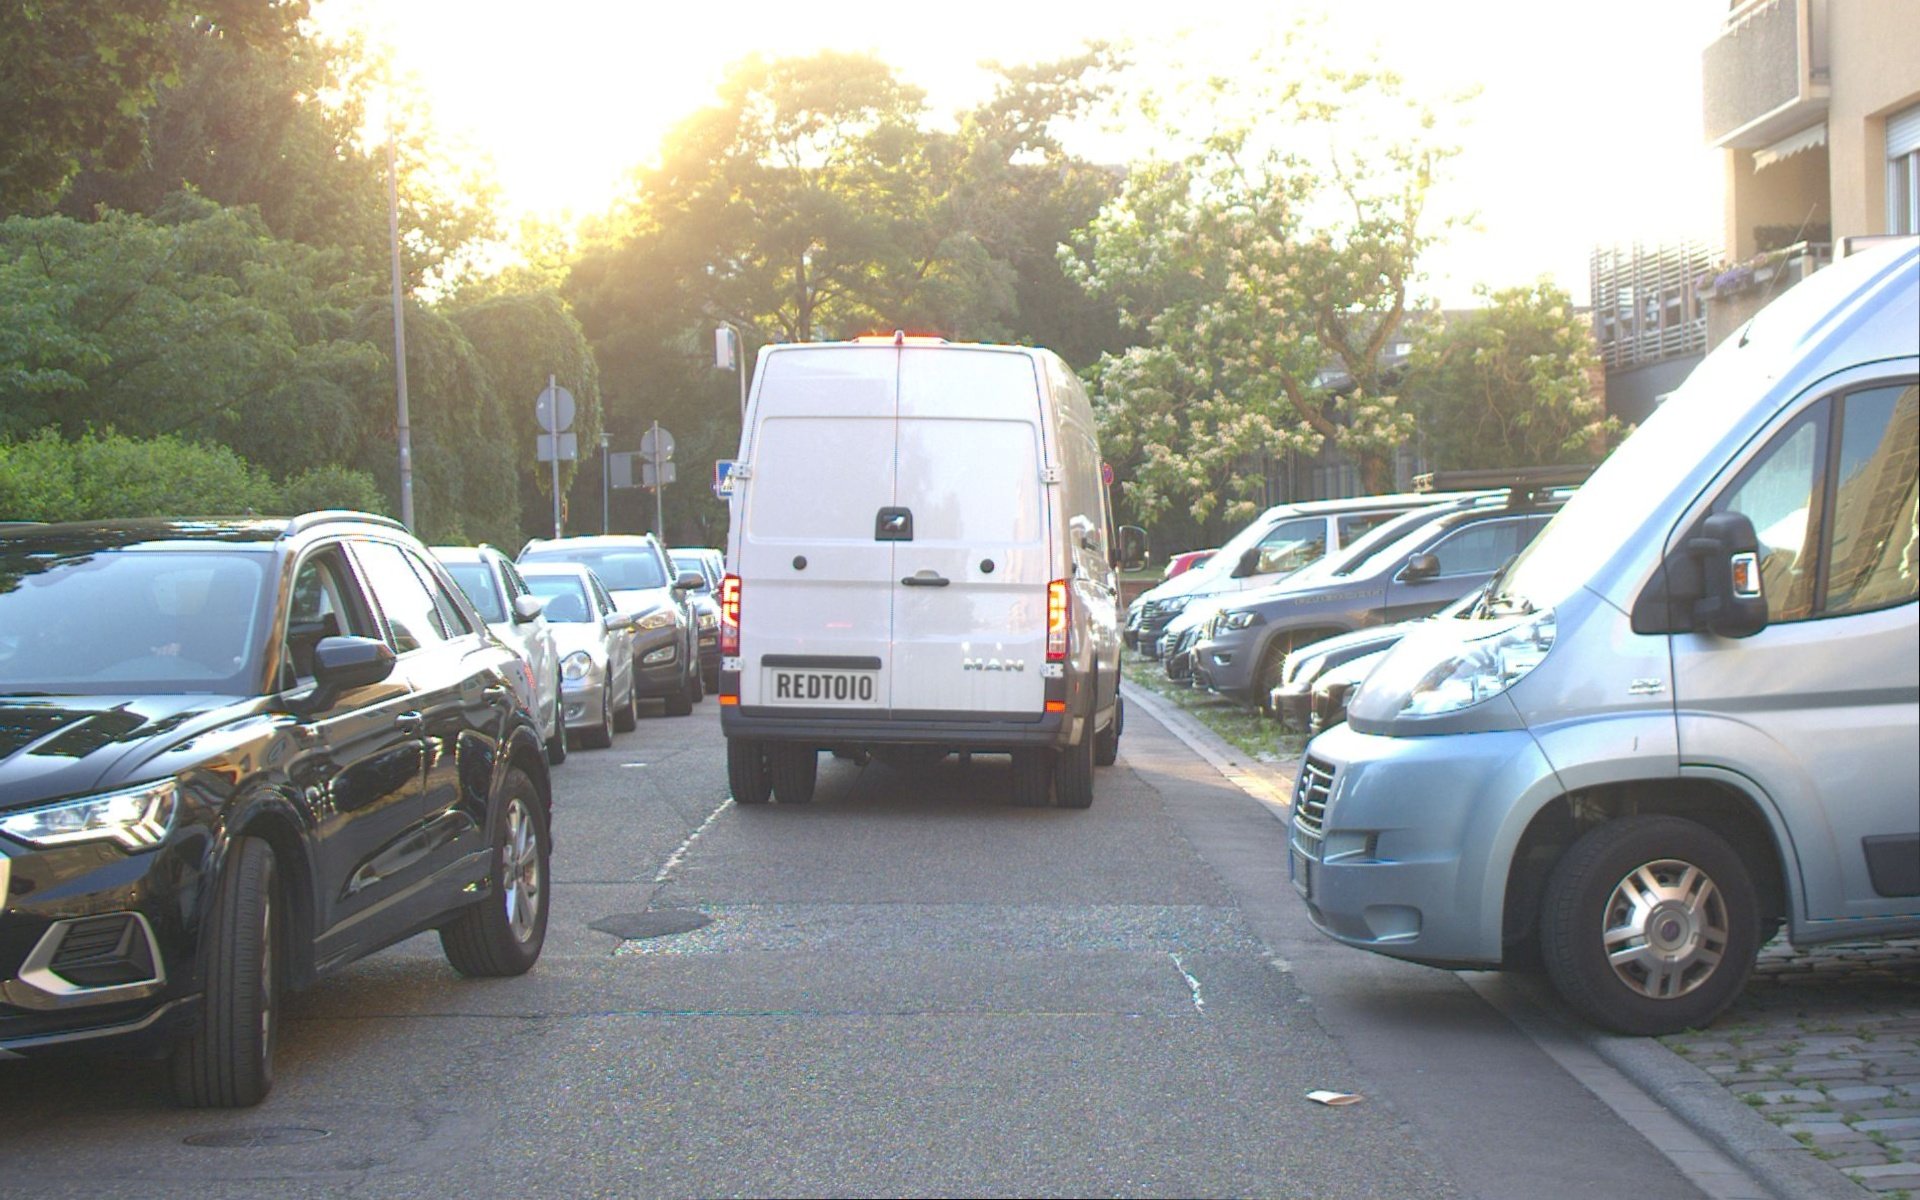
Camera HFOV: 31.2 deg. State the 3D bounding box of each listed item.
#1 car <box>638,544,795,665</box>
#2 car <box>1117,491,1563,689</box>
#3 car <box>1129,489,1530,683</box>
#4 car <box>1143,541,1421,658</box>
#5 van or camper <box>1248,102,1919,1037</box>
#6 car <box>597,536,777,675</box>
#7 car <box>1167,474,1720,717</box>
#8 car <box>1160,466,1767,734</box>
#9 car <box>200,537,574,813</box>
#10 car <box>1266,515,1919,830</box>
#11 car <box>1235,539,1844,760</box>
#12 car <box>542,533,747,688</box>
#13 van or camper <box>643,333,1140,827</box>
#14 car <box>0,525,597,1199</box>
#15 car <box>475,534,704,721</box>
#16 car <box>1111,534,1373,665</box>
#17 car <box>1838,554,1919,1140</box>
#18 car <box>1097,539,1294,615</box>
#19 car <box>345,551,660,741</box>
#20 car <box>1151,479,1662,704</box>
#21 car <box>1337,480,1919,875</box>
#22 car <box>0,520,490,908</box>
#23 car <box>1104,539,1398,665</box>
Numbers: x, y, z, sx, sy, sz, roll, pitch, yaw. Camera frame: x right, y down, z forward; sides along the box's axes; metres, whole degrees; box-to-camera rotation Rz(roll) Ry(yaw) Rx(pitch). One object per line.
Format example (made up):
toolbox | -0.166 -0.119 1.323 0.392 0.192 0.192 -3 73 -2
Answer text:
car | -3.339 0.030 47.816 1.993 1.612 4.000 0 1 -1
car | 4.168 -0.127 38.290 4.706 2.138 2.000 0 1 -1
car | 4.292 -0.176 40.474 4.496 2.223 2.032 0 1 0
car | 4.765 -0.023 51.379 3.987 1.722 2.000 0 1 1
van or camper | 4.007 -0.099 11.236 5.928 2.760 2.110 0 1 -1
car | -3.290 0.031 42.103 1.993 1.612 4.000 0 1 -1
car | 4.304 -0.058 31.183 4.706 2.138 2.000 0 1 -1
car | 4.083 -0.016 28.487 4.706 2.138 2.000 0 1 -1
car | -3.595 0.409 22.258 1.856 1.549 4.100 -2 1 -3
car | 3.859 0.353 19.140 3.986 1.449 1.836 -4 1 -4
car | 4.285 0.348 25.862 4.236 1.420 1.719 -2 1 0
car | -3.407 0.080 37.784 1.993 1.612 4.000 0 1 -1
van or camper | -0.206 -0.154 20.990 2.454 2.538 6.082 1 1 4
car | -2.522 0.595 10.286 1.805 1.564 4.564 -1 1 8
car | -3.443 0.210 32.577 1.993 1.656 4.001 0 1 -4
car | 4.357 -0.029 53.639 3.987 2.007 2.000 0 1 2
car | 4.351 0.519 8.328 3.935 1.481 1.787 -3 -1 2
car | 5.015 -0.499 73.649 3.986 1.612 2.000 0 1 -3
car | -3.549 0.313 27.357 1.993 1.393 4.000 0 1 0
car | 4.292 -0.098 33.610 4.706 2.138 2.000 0 1 -1
car | 4.225 0.299 16.697 4.433 1.722 1.773 -2 1 -6
car | -3.602 0.478 17.028 1.783 1.625 4.000 -3 1 2
car | 4.044 0.014 48.348 3.987 1.722 2.000 0 1 1
